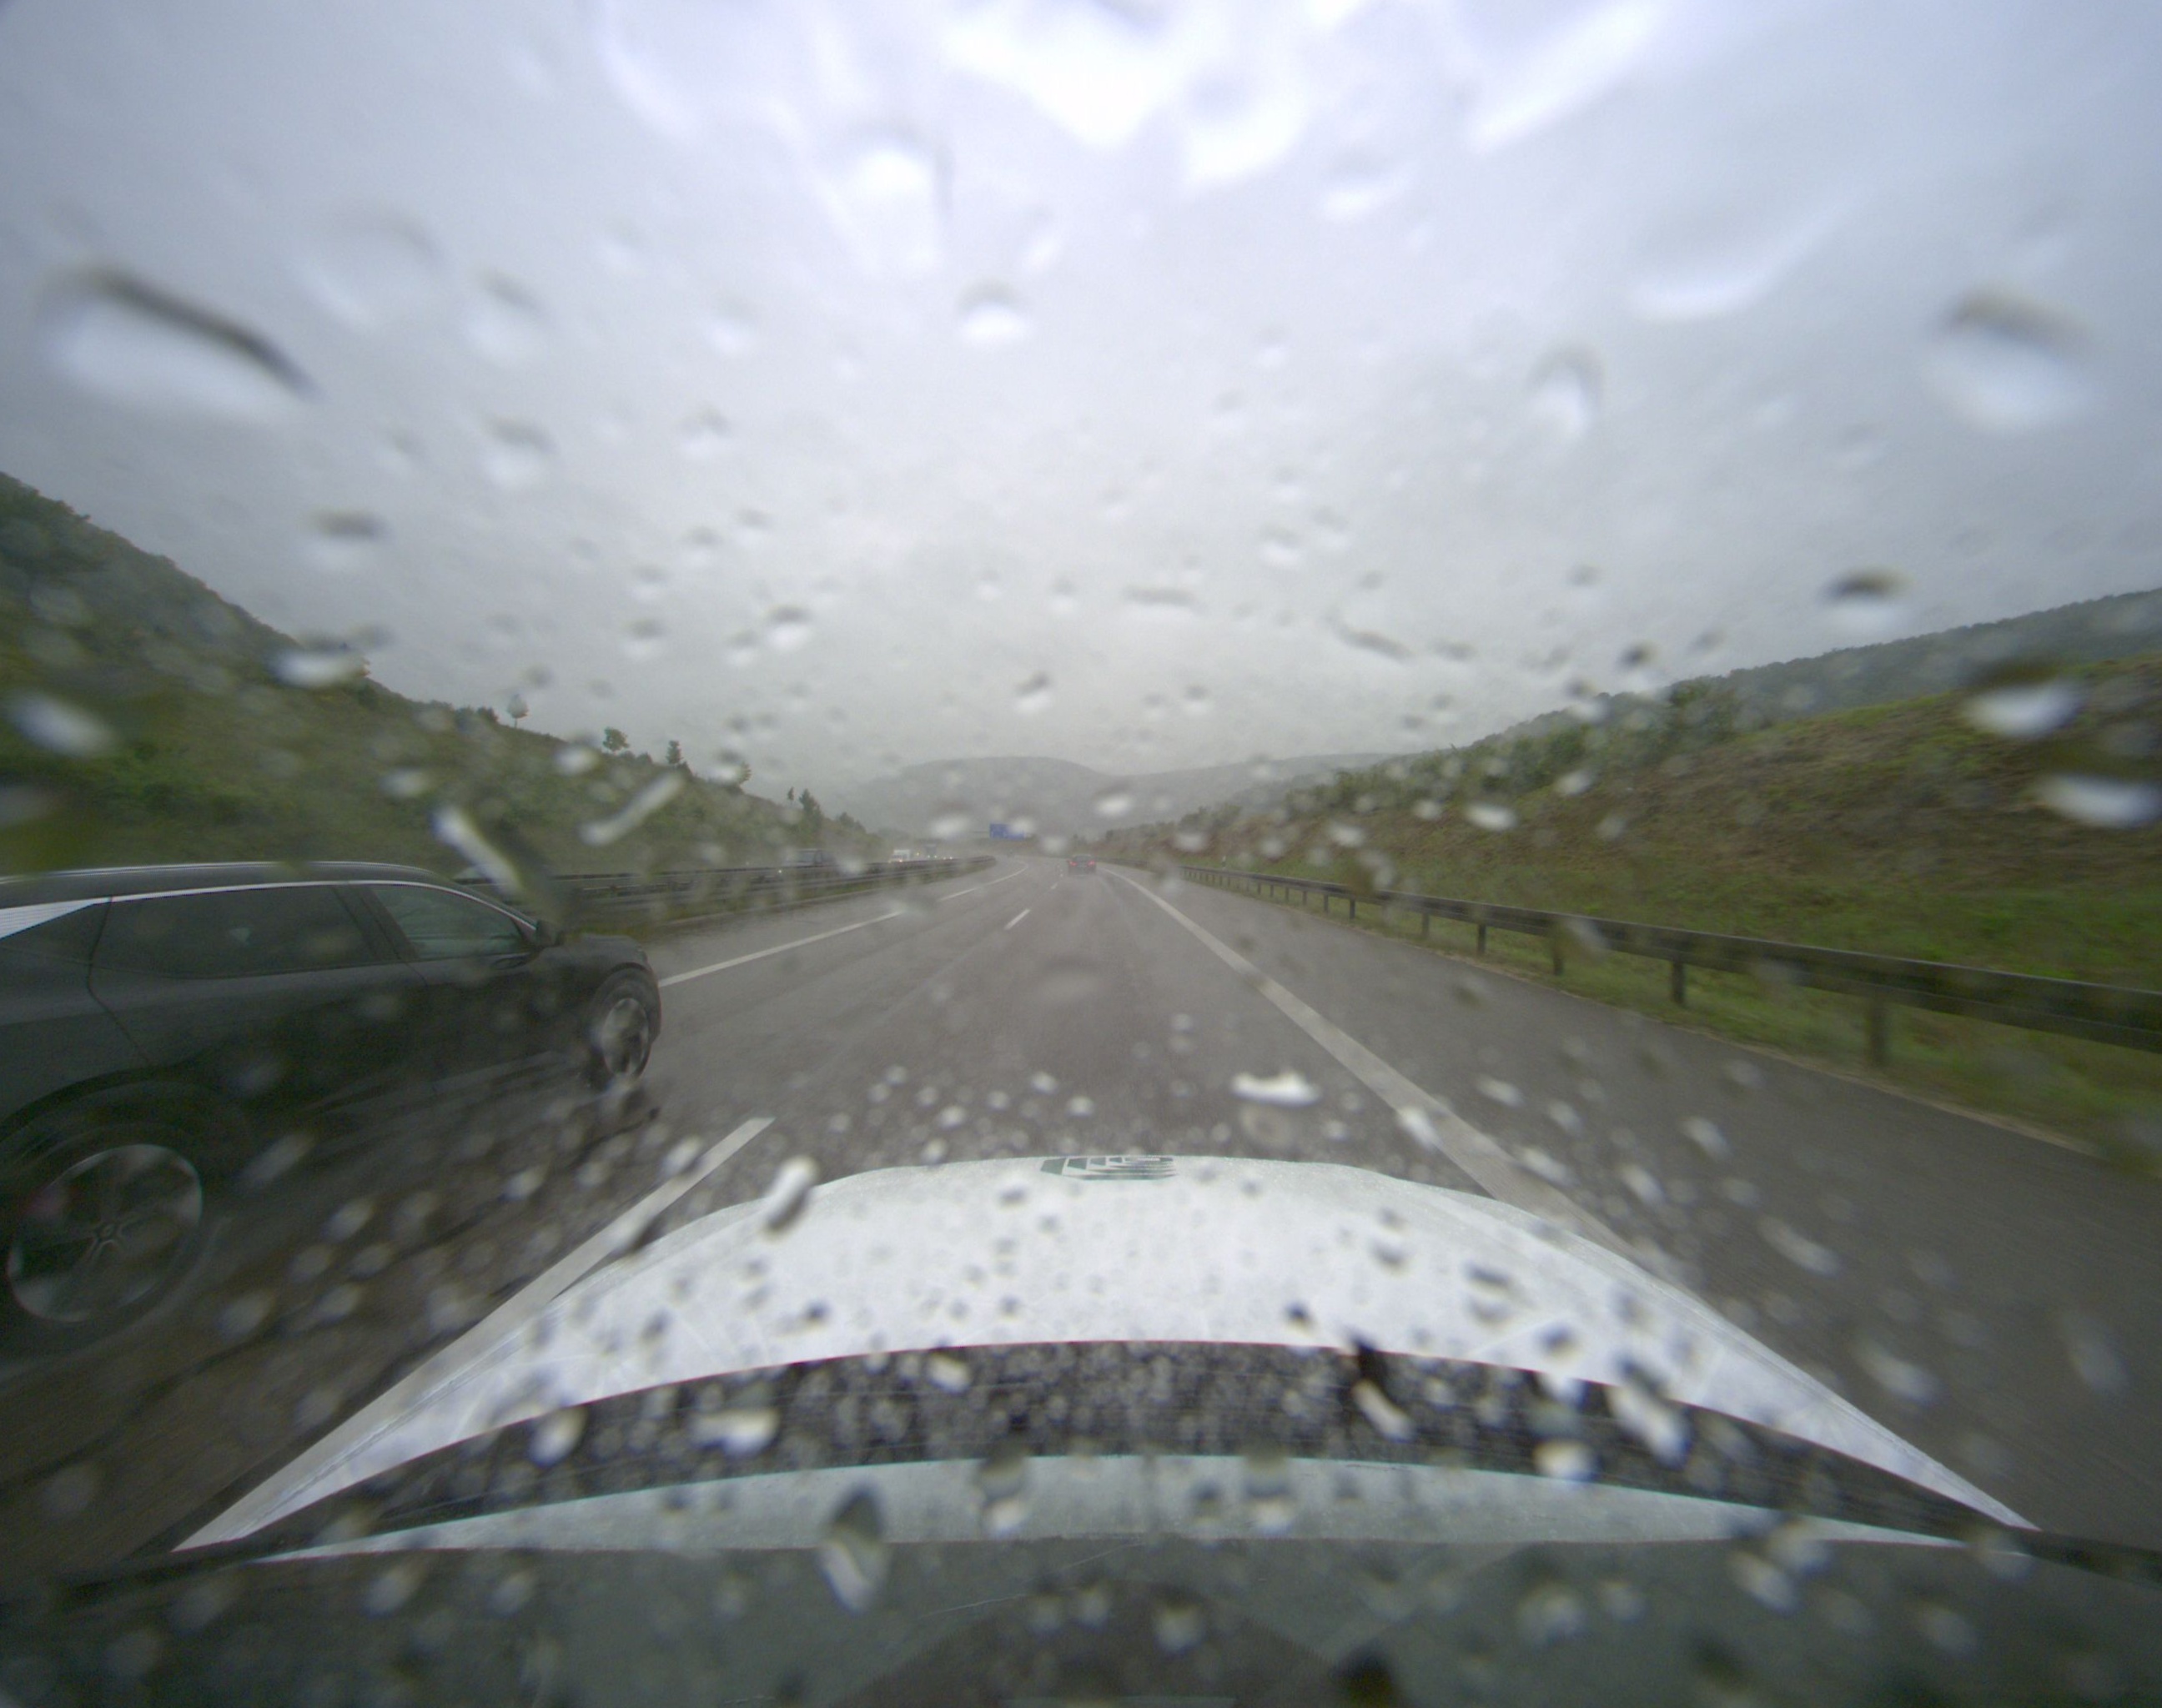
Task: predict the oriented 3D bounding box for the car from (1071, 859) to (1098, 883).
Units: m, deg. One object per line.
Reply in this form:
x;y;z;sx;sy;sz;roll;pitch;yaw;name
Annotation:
0.183;1.050;52.756;1.674;1.472;3.813;-1;0;-1;car

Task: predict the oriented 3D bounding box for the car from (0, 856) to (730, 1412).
-4.090;0.791;4.063;2.396;1.515;4.787;-1;0;3;car

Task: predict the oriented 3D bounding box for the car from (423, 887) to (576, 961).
-17.921;2.087;25.360;1.783;1.907;4.002;-1;0;2;car
